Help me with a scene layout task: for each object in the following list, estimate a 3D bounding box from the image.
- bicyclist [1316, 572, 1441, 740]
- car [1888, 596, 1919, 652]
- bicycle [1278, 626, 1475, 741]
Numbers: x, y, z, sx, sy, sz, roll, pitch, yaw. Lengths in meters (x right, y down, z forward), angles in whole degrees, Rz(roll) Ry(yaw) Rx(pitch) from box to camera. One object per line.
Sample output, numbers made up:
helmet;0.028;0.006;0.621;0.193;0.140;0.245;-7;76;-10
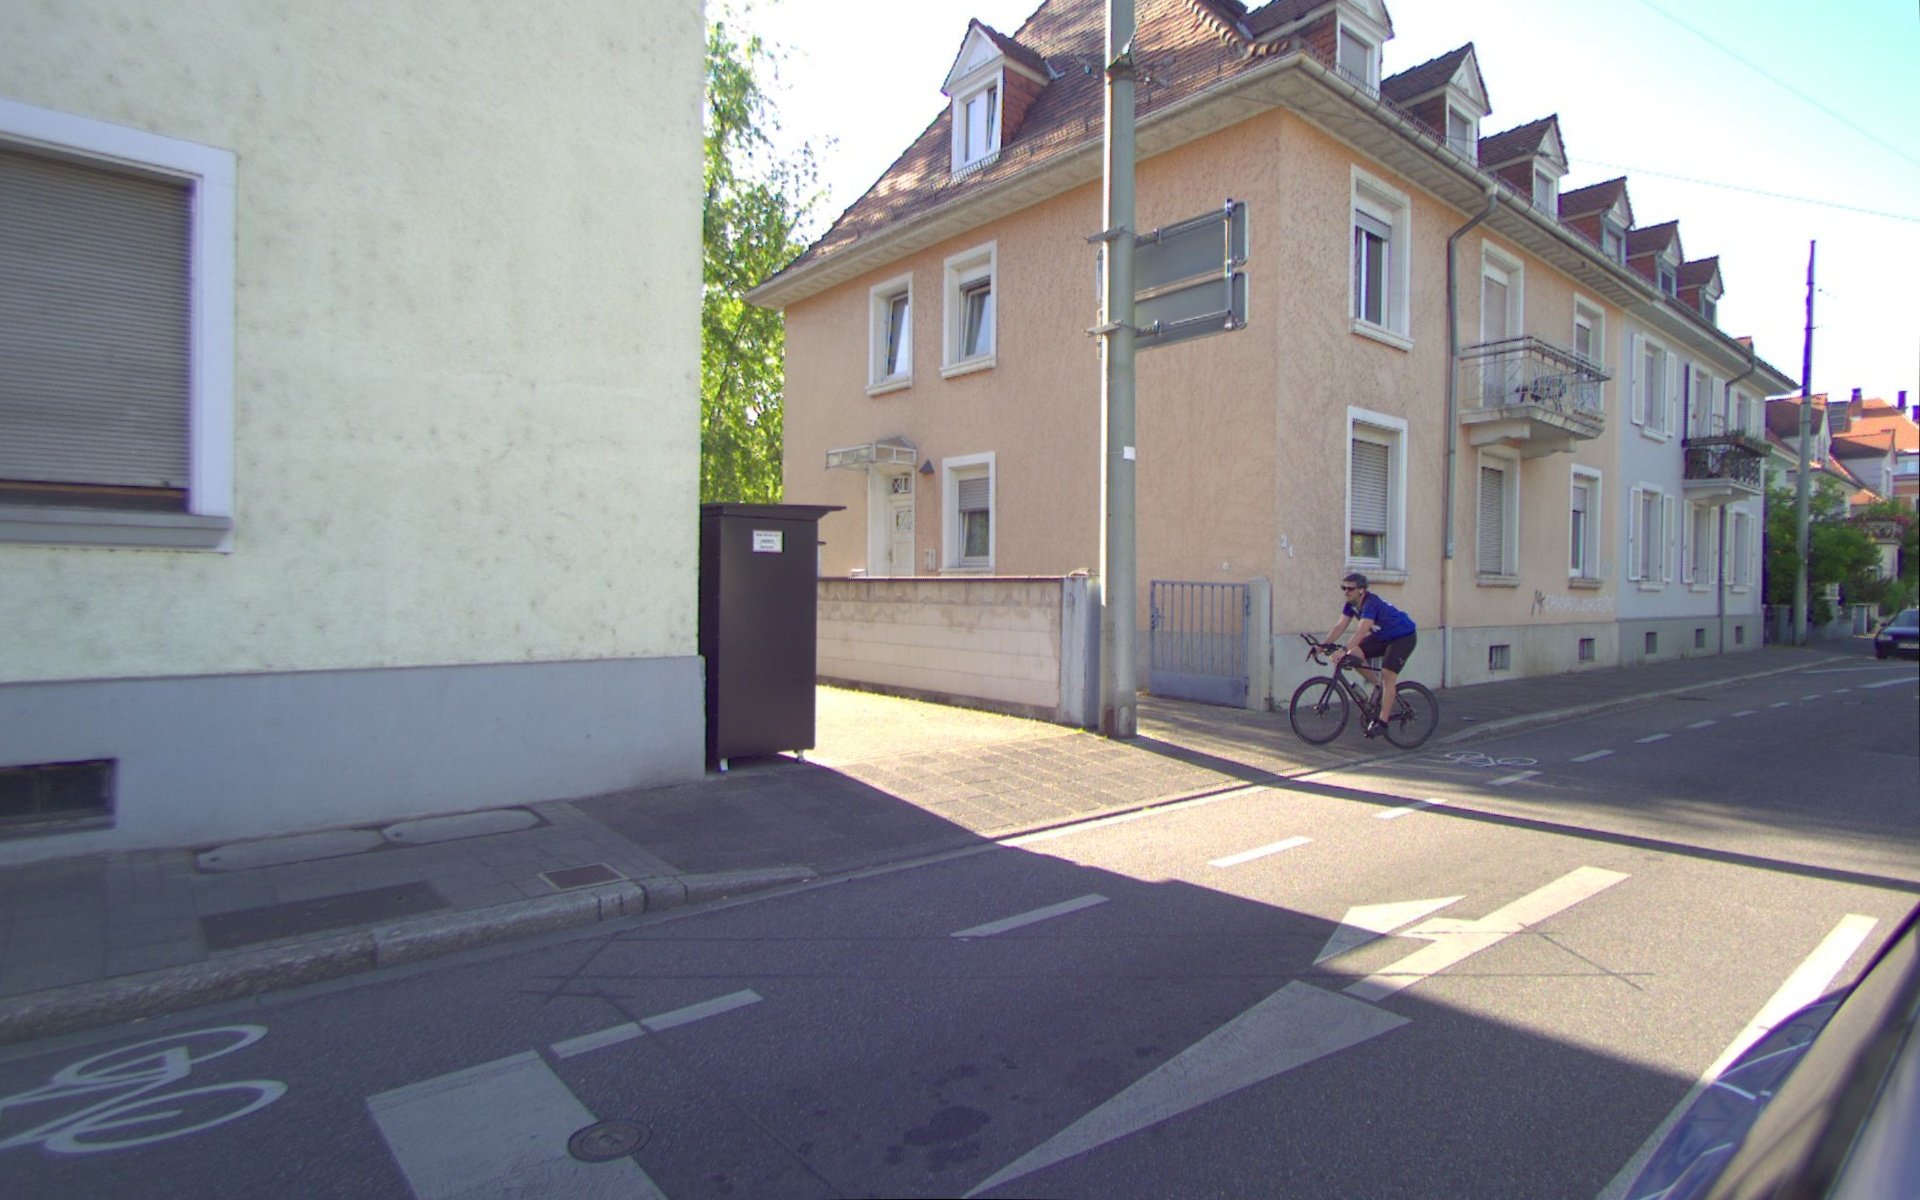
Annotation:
bicyclist;4.195;0.546;10.180;0.995;1.637;0.563;1;0;-8
car;26.722;0.624;27.400;4.347;1.425;1.866;0;1;-41
bicycle;4.163;0.829;10.155;1.757;1.075;0.552;1;2;-9
